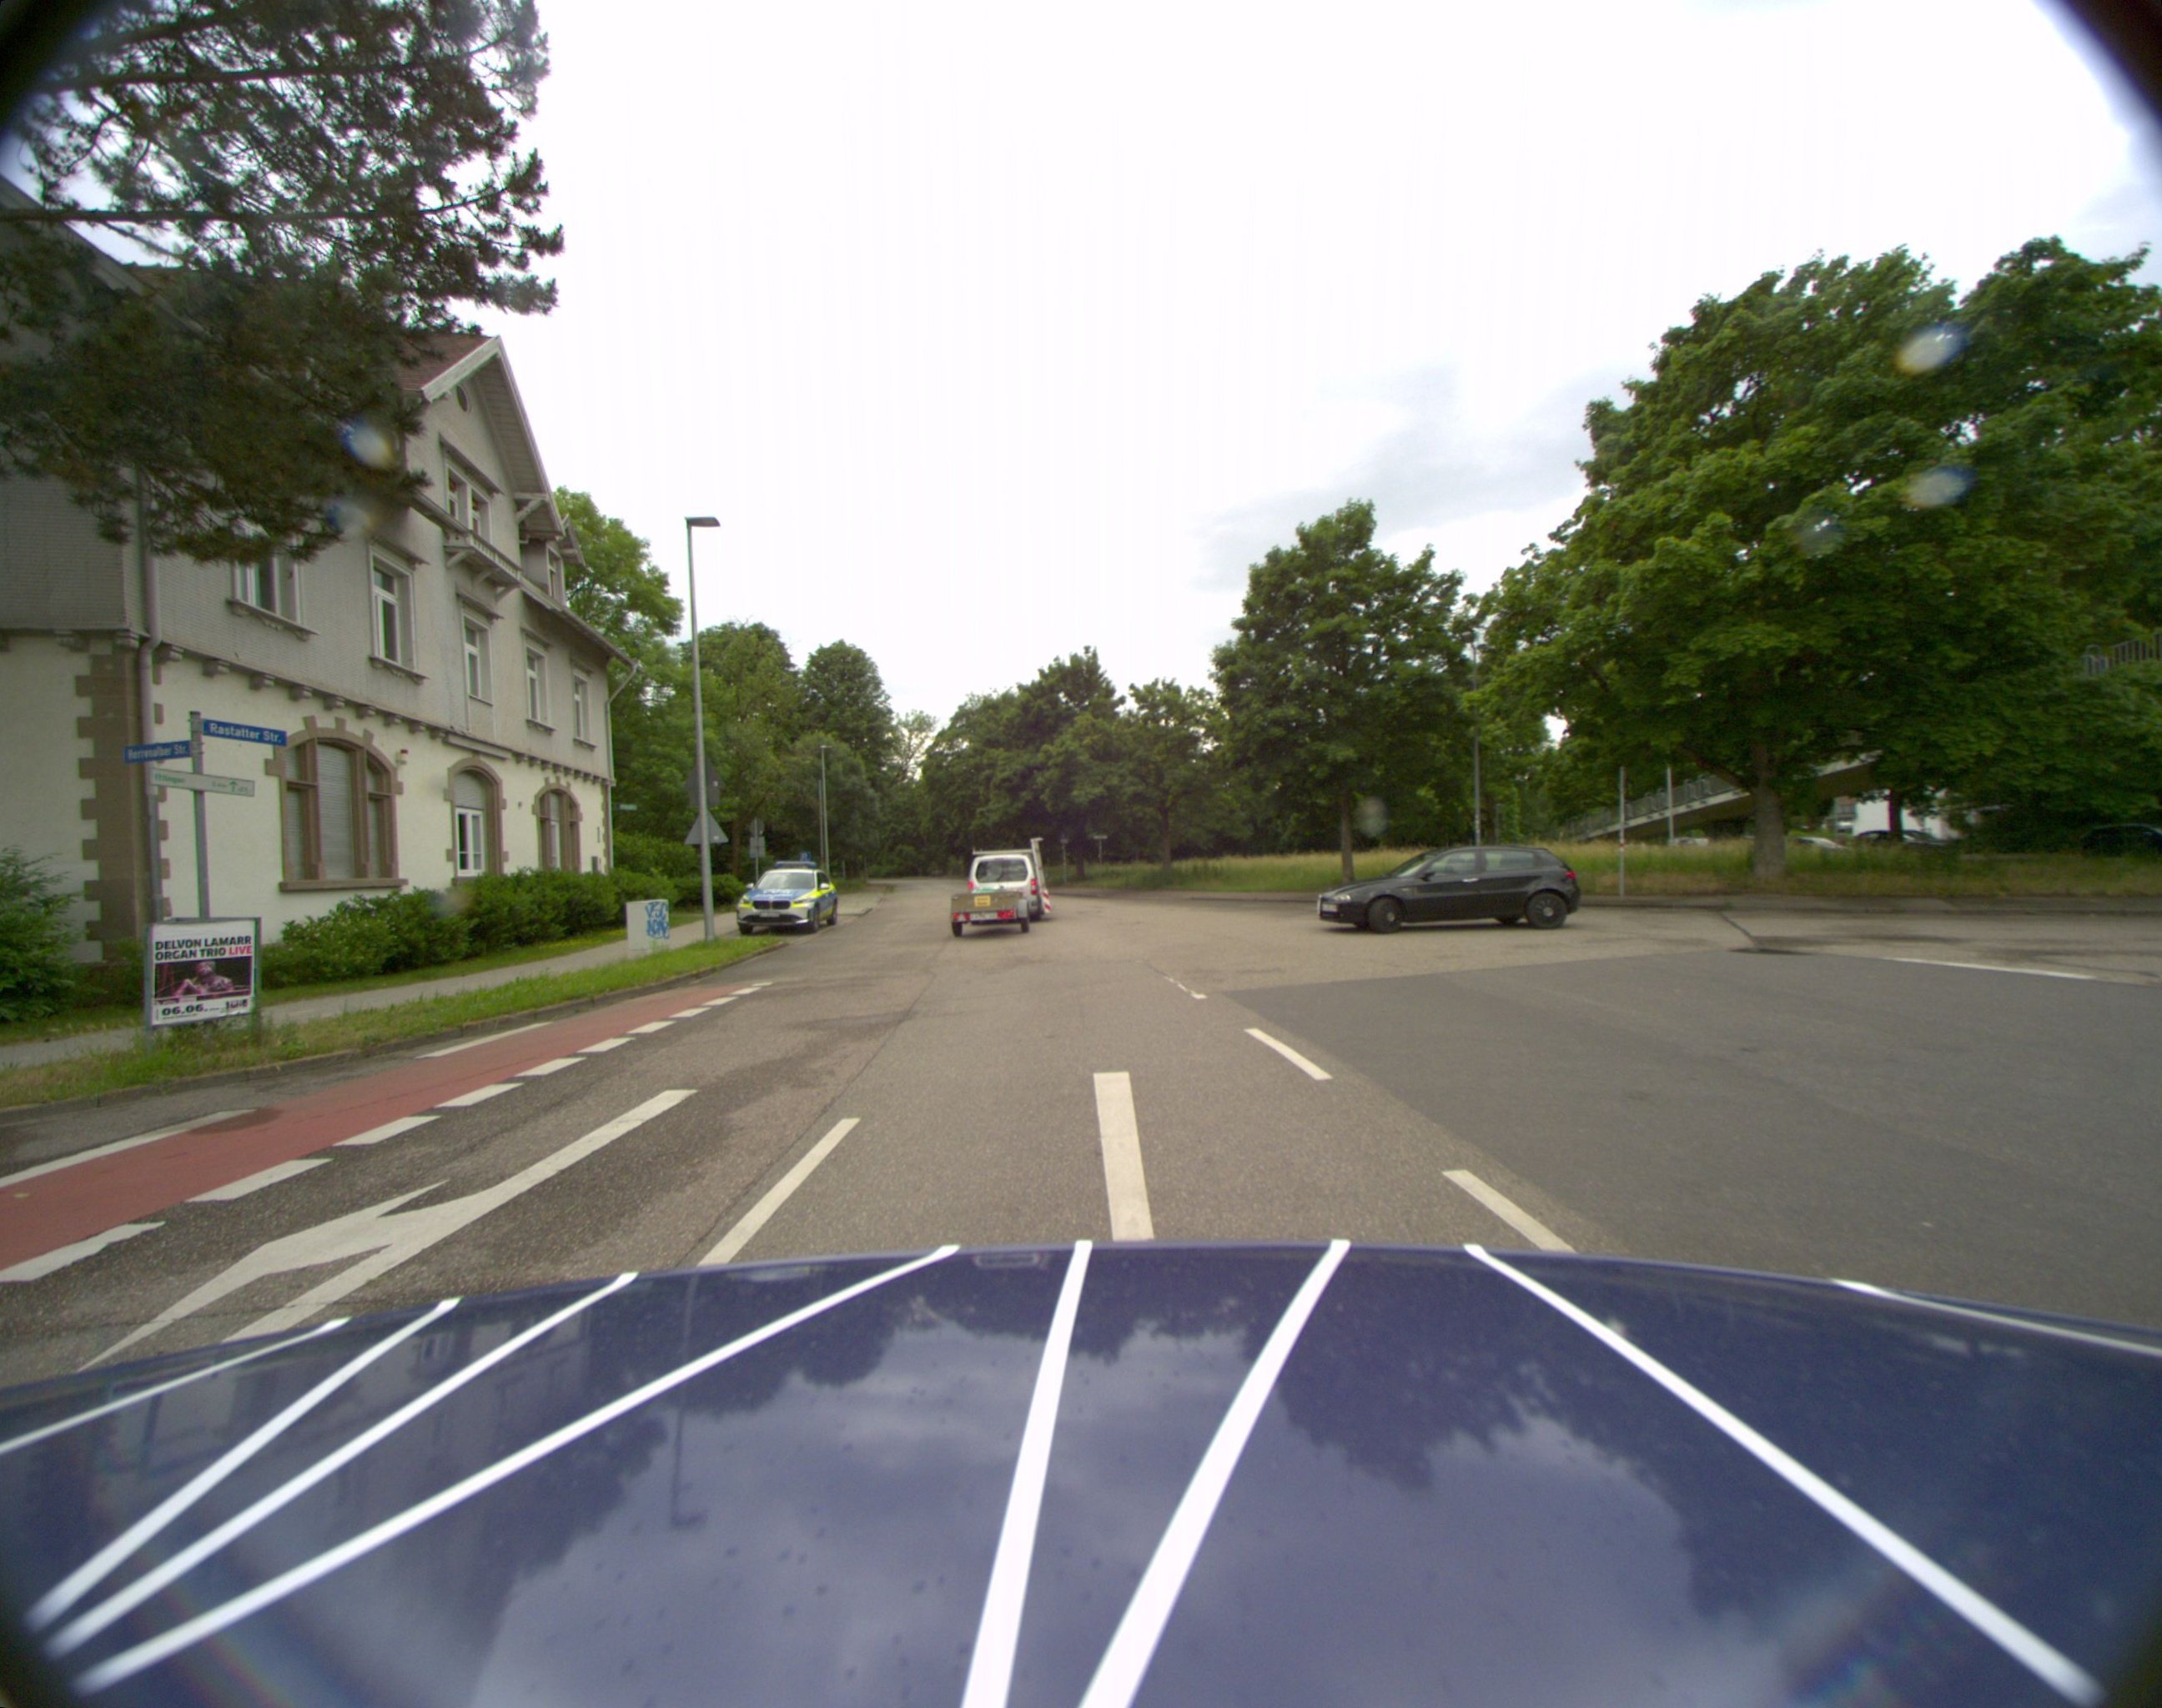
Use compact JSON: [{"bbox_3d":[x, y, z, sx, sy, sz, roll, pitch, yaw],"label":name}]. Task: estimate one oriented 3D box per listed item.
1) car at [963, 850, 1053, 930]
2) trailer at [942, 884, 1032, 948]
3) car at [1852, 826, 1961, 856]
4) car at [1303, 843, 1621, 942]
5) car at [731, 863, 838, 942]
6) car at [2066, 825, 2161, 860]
[{"bbox_3d":[-1.819,0.839,20.212,2.094,1.847,4.220,-2,0,-2],"label":"car"},{"bbox_3d":[-1.924,1.267,16.425,1.571,0.980,3.463,-2,1,-2],"label":"trailer"},{"bbox_3d":[41.829,-0.646,38.648,1.692,1.343,4.003,-2,0,11],"label":"car"},{"bbox_3d":[6.335,0.632,13.132,4.534,1.448,1.804,-2,0,8],"label":"car"},{"bbox_3d":[-7.614,1.157,19.904,1.937,1.839,3.996,0,0,-12],"label":"car"},{"bbox_3d":[40.405,-0.459,28.671,1.692,1.231,4.003,-2,0,11],"label":"car"}]
